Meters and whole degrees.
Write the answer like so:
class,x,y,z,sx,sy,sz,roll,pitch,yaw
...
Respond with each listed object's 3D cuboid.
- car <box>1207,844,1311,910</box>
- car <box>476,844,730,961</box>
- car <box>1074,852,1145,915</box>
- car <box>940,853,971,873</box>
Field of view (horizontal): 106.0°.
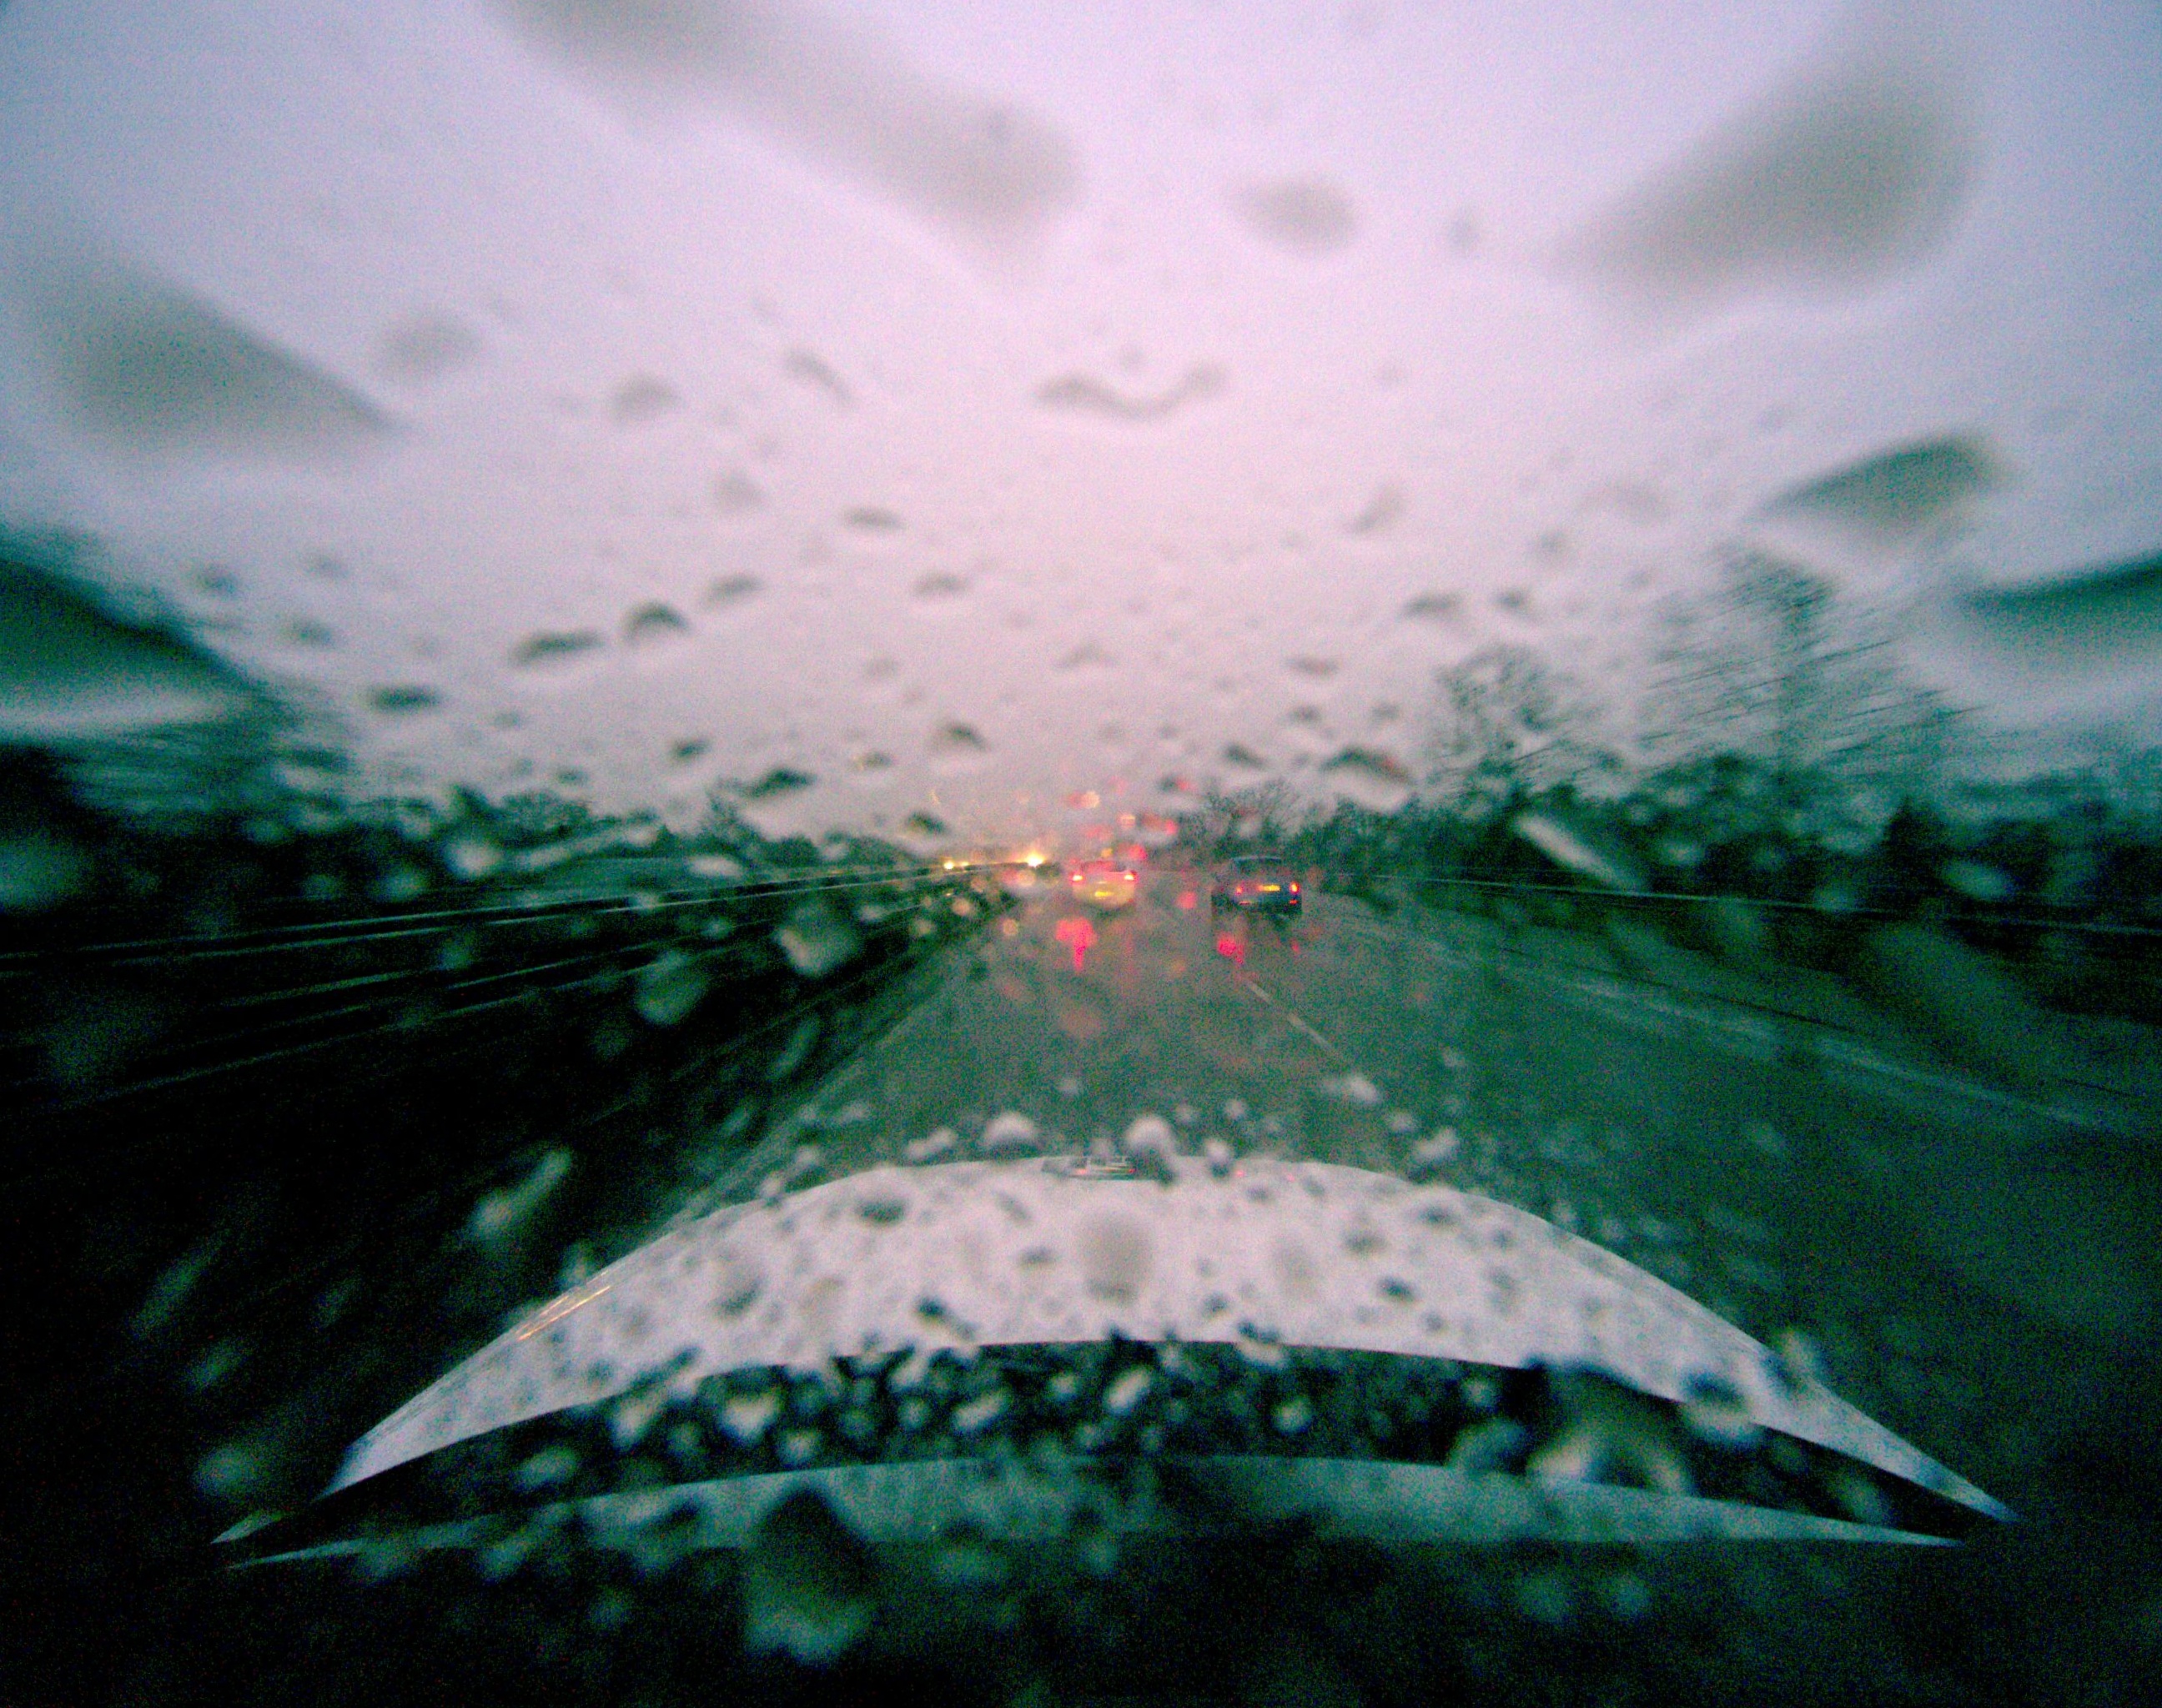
class,x,y,z,sx,sy,sz,roll,pitch,yaw
car,4.296,0.492,20.249,1.838,1.453,4.151,-1,0,2
car,-7.755,0.696,13.733,1.733,1.640,4.002,1,0,2
car,0.815,0.773,23.238,1.838,1.636,3.769,-1,0,2
car,-11.358,0.777,73.977,1.888,1.784,4.707,0,0,2
